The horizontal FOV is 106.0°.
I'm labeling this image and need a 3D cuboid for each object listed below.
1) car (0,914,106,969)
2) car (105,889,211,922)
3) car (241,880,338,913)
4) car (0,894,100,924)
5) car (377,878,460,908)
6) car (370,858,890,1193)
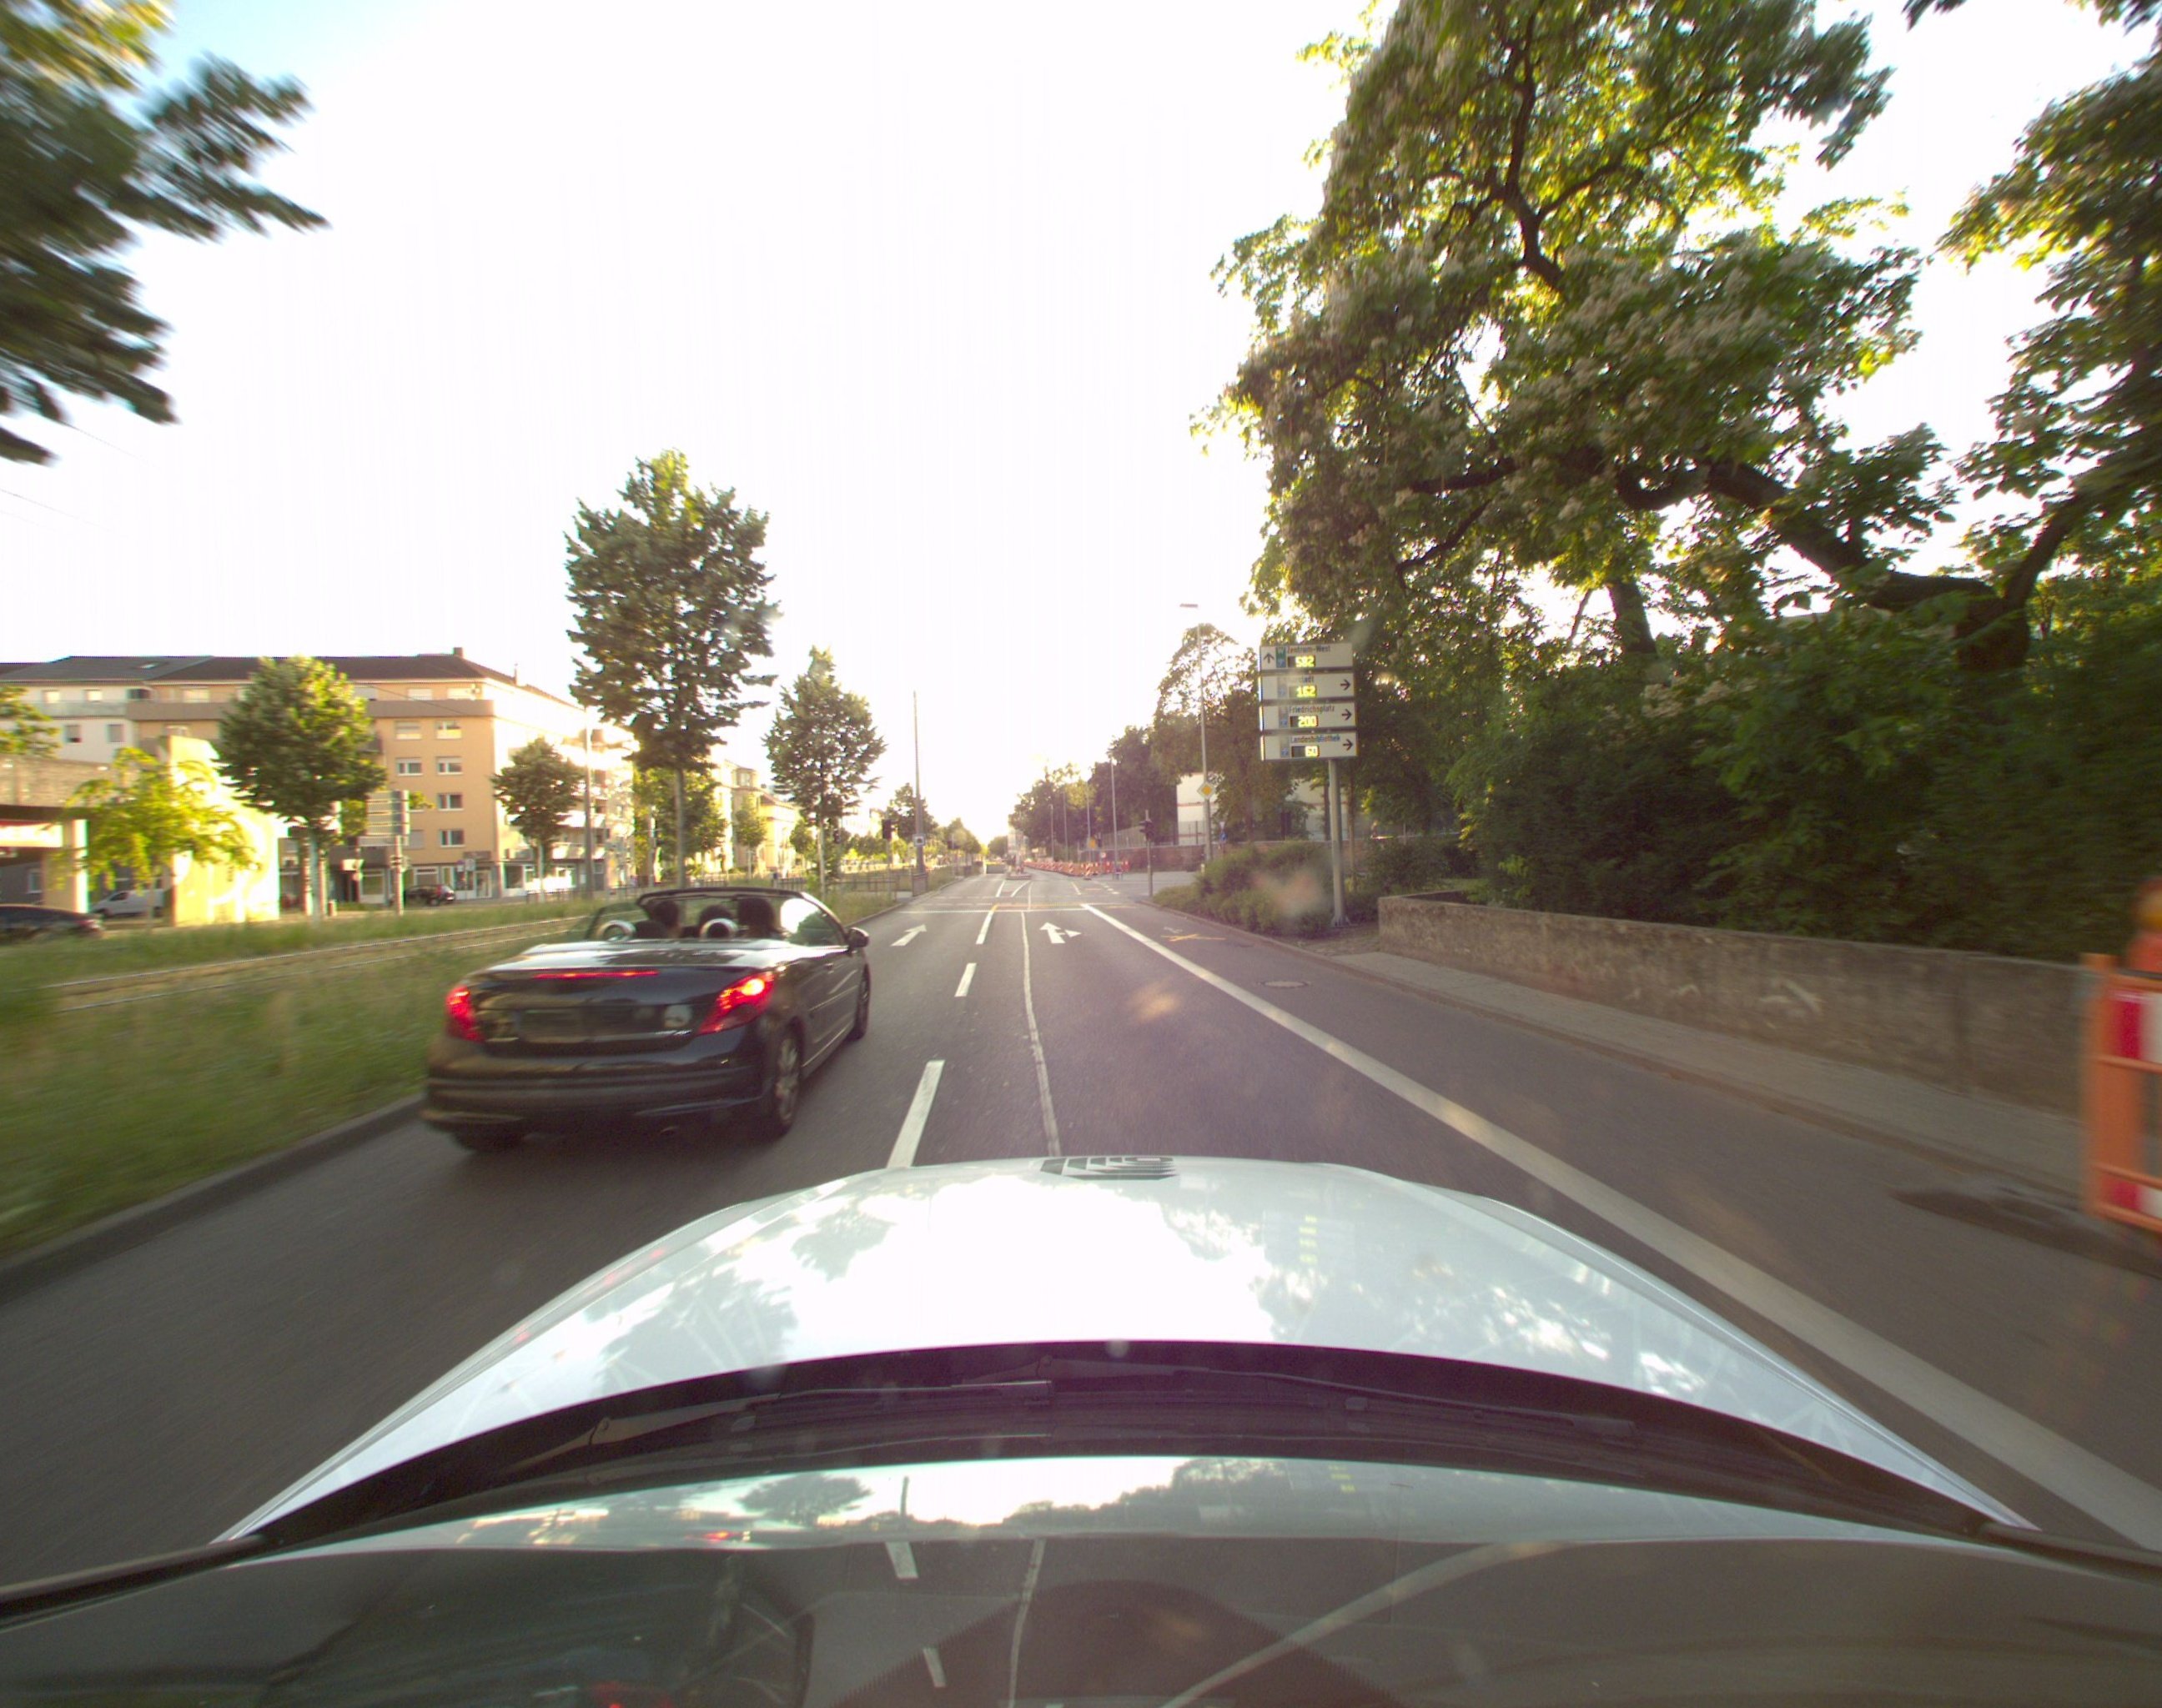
[{"bbox_3d":[-32.787,2.732,24.858,1.722,1.450,3.753,-3,-1,43],"label":"car"},{"bbox_3d":[-63.408,3.517,56.010,4.482,1.990,2.162,-2,0,-7],"label":"car"},{"bbox_3d":[-55.508,2.976,57.218,4.324,1.769,2.162,-4,2,-7],"label":"car"},{"bbox_3d":[-70.354,3.744,55.395,4.324,1.755,2.111,-2,0,-7],"label":"car"},{"bbox_3d":[-47.201,2.749,58.081,3.929,1.845,2.186,-2,0,-7],"label":"car"},{"bbox_3d":[-2.524,0.786,5.726,1.716,1.449,3.895,-1,0,-5],"label":"car"}]
